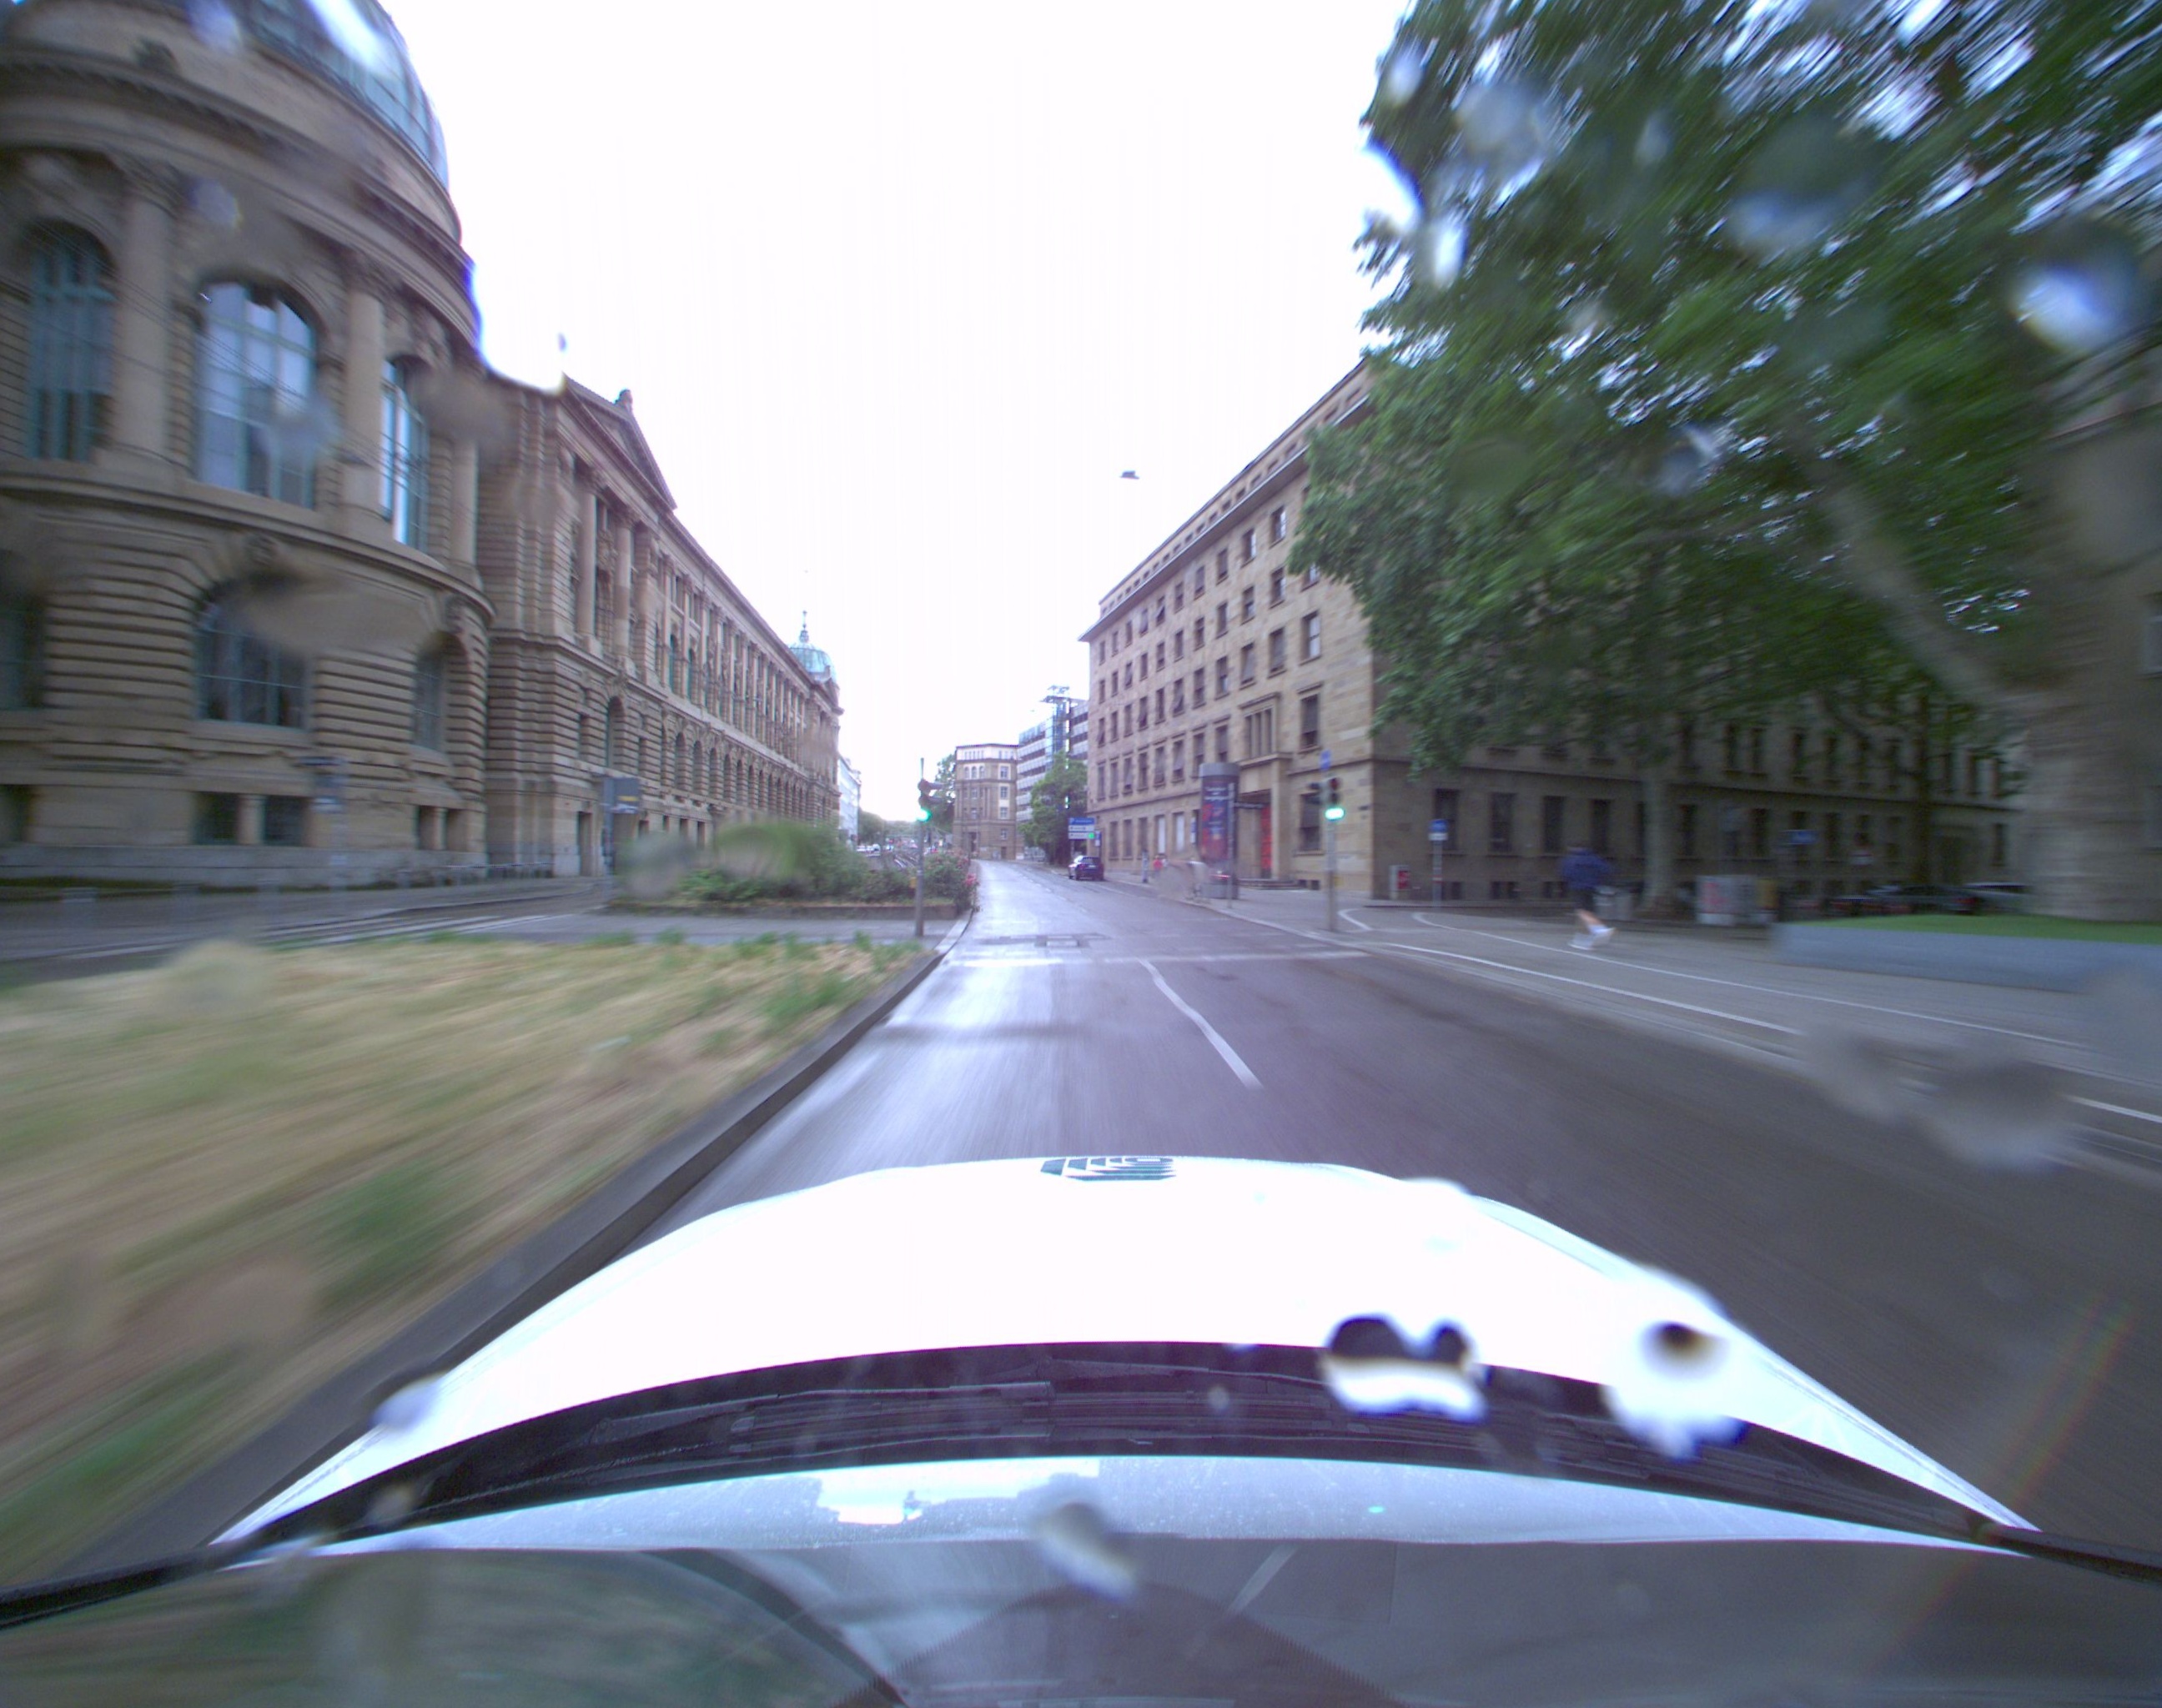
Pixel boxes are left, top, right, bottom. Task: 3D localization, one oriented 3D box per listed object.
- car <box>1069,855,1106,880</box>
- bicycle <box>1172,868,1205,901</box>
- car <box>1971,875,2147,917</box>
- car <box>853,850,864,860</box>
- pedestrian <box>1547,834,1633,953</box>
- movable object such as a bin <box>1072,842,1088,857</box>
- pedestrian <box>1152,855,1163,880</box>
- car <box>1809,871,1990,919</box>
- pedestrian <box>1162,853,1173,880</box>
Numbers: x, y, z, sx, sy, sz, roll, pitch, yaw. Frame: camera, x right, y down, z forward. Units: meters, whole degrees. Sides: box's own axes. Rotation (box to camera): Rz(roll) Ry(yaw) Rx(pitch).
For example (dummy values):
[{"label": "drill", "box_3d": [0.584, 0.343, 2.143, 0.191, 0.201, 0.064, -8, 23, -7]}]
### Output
[{"label": "car", "box_3d": [0.404, 0.885, 54.354, 1.768, 1.619, 4.143, 1, -1, -10]}, {"label": "bicycle", "box_3d": [3.523, 0.982, 26.778, 0.489, 1.012, 1.921, 1, 0, -10]}, {"label": "car", "box_3d": [42.579, 1.783, 35.597, 1.893, 1.463, 4.639, -2, 2, -26]}, {"label": "car", "box_3d": [-45.418, 0.168, 166.389, 1.996, 1.883, 4.904, 2, 0, -13]}, {"label": "pedestrian", "box_3d": [7.793, 0.584, 12.508, 0.777, 1.772, 0.862, 0, 0, -1]}, {"label": "movable object such as a bin", "box_3d": [-0.082, -0.421, 71.698, 1.238, 1.310, 1.230, -1, 0, -8]}, {"label": "pedestrian", "box_3d": [4.537, 0.811, 48.621, 0.524, 1.492, 0.672, 1, -1, -6]}, {"label": "car", "box_3d": [31.035, 1.474, 31.064, 1.891, 1.463, 4.508, -2, 2, -23]}, {"label": "pedestrian", "box_3d": [5.180, 0.763, 48.896, 0.524, 1.603, 0.672, 1, -1, -6]}]
